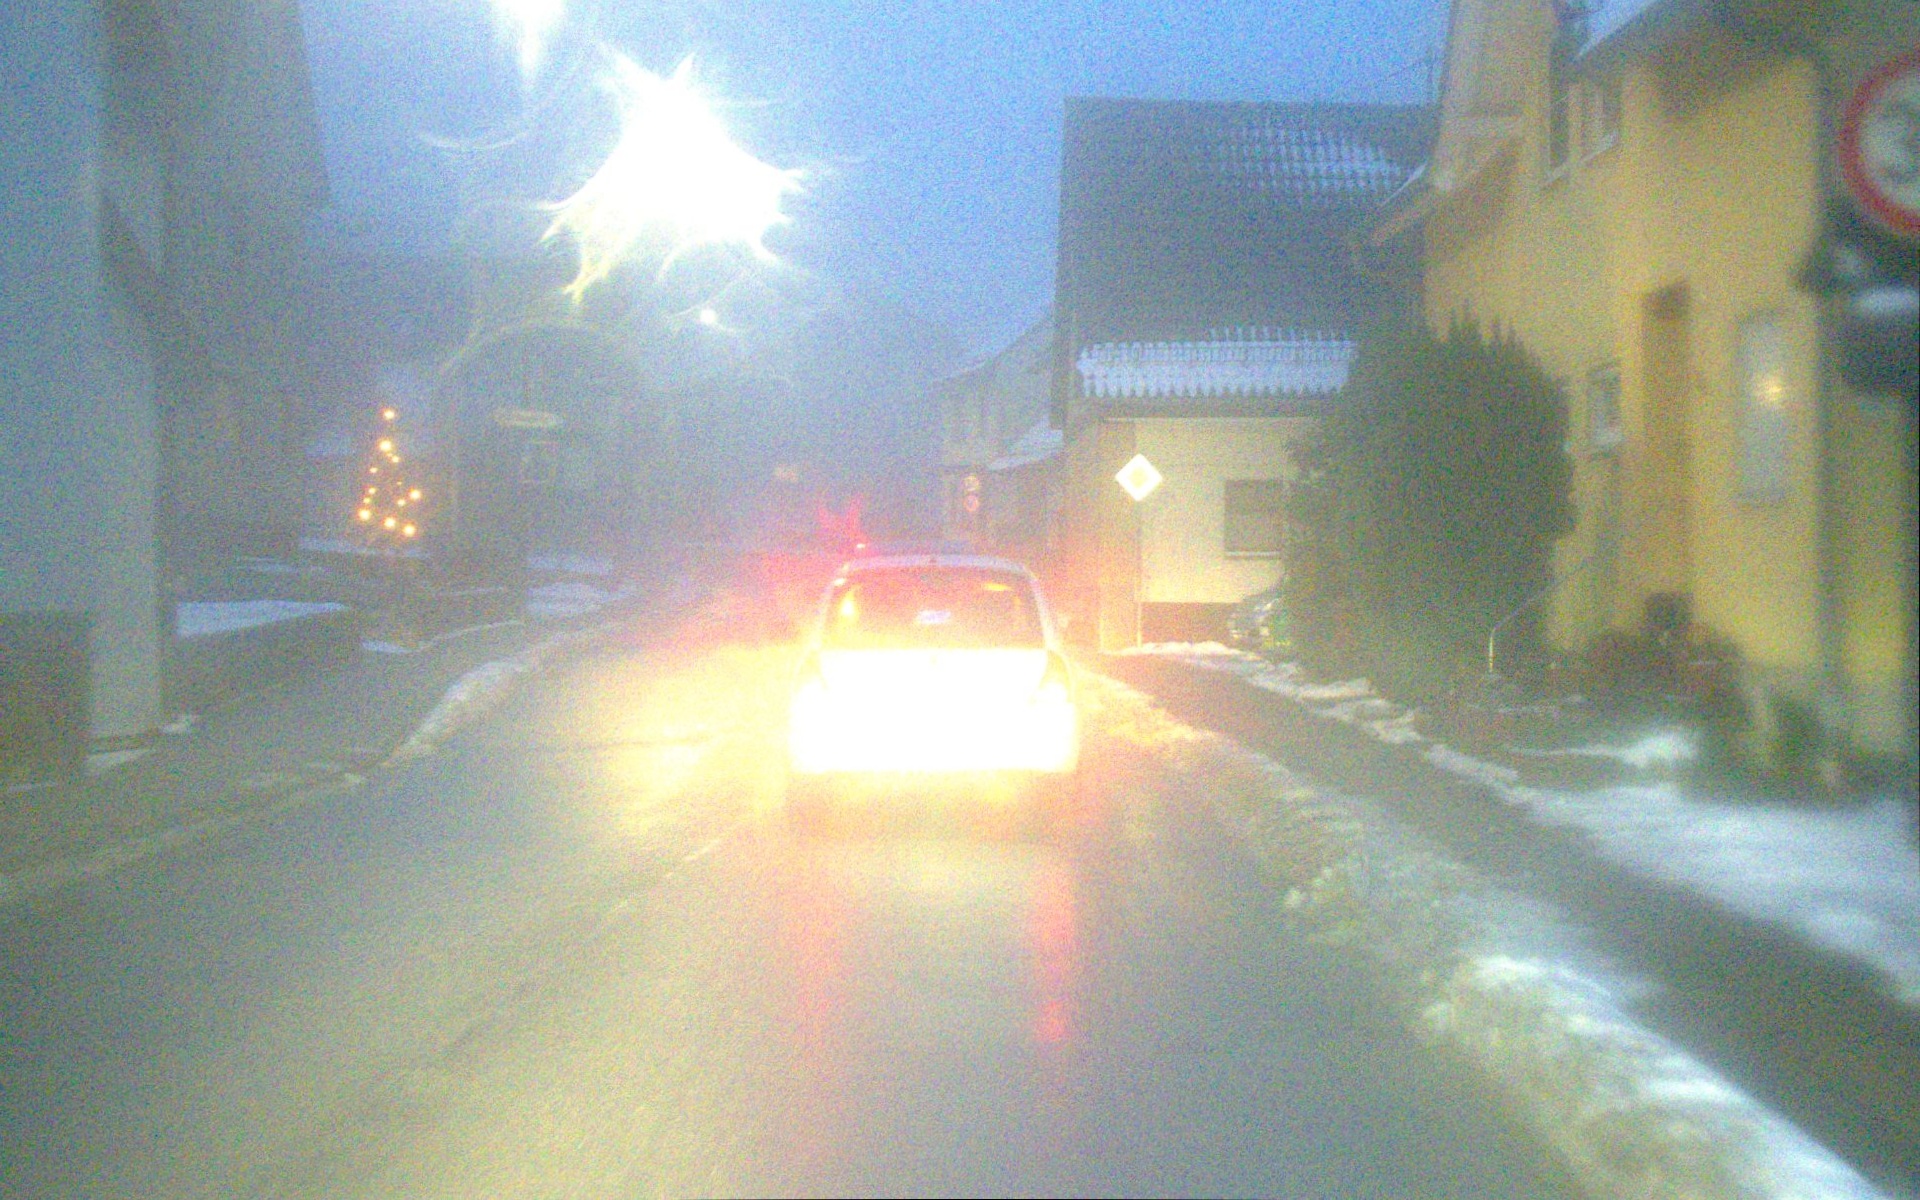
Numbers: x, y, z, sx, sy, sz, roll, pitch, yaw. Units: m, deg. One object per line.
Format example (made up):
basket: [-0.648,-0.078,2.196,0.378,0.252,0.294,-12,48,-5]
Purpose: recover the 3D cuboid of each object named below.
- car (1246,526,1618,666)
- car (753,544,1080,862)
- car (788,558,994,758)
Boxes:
car: [5.177,-0.070,38.005,3.740,1.492,1.822,0,1,-6]
car: [-0.177,0.531,19.615,1.645,1.590,3.699,2,0,2]
car: [-0.591,0.472,30.065,1.645,1.590,3.699,2,0,-1]
